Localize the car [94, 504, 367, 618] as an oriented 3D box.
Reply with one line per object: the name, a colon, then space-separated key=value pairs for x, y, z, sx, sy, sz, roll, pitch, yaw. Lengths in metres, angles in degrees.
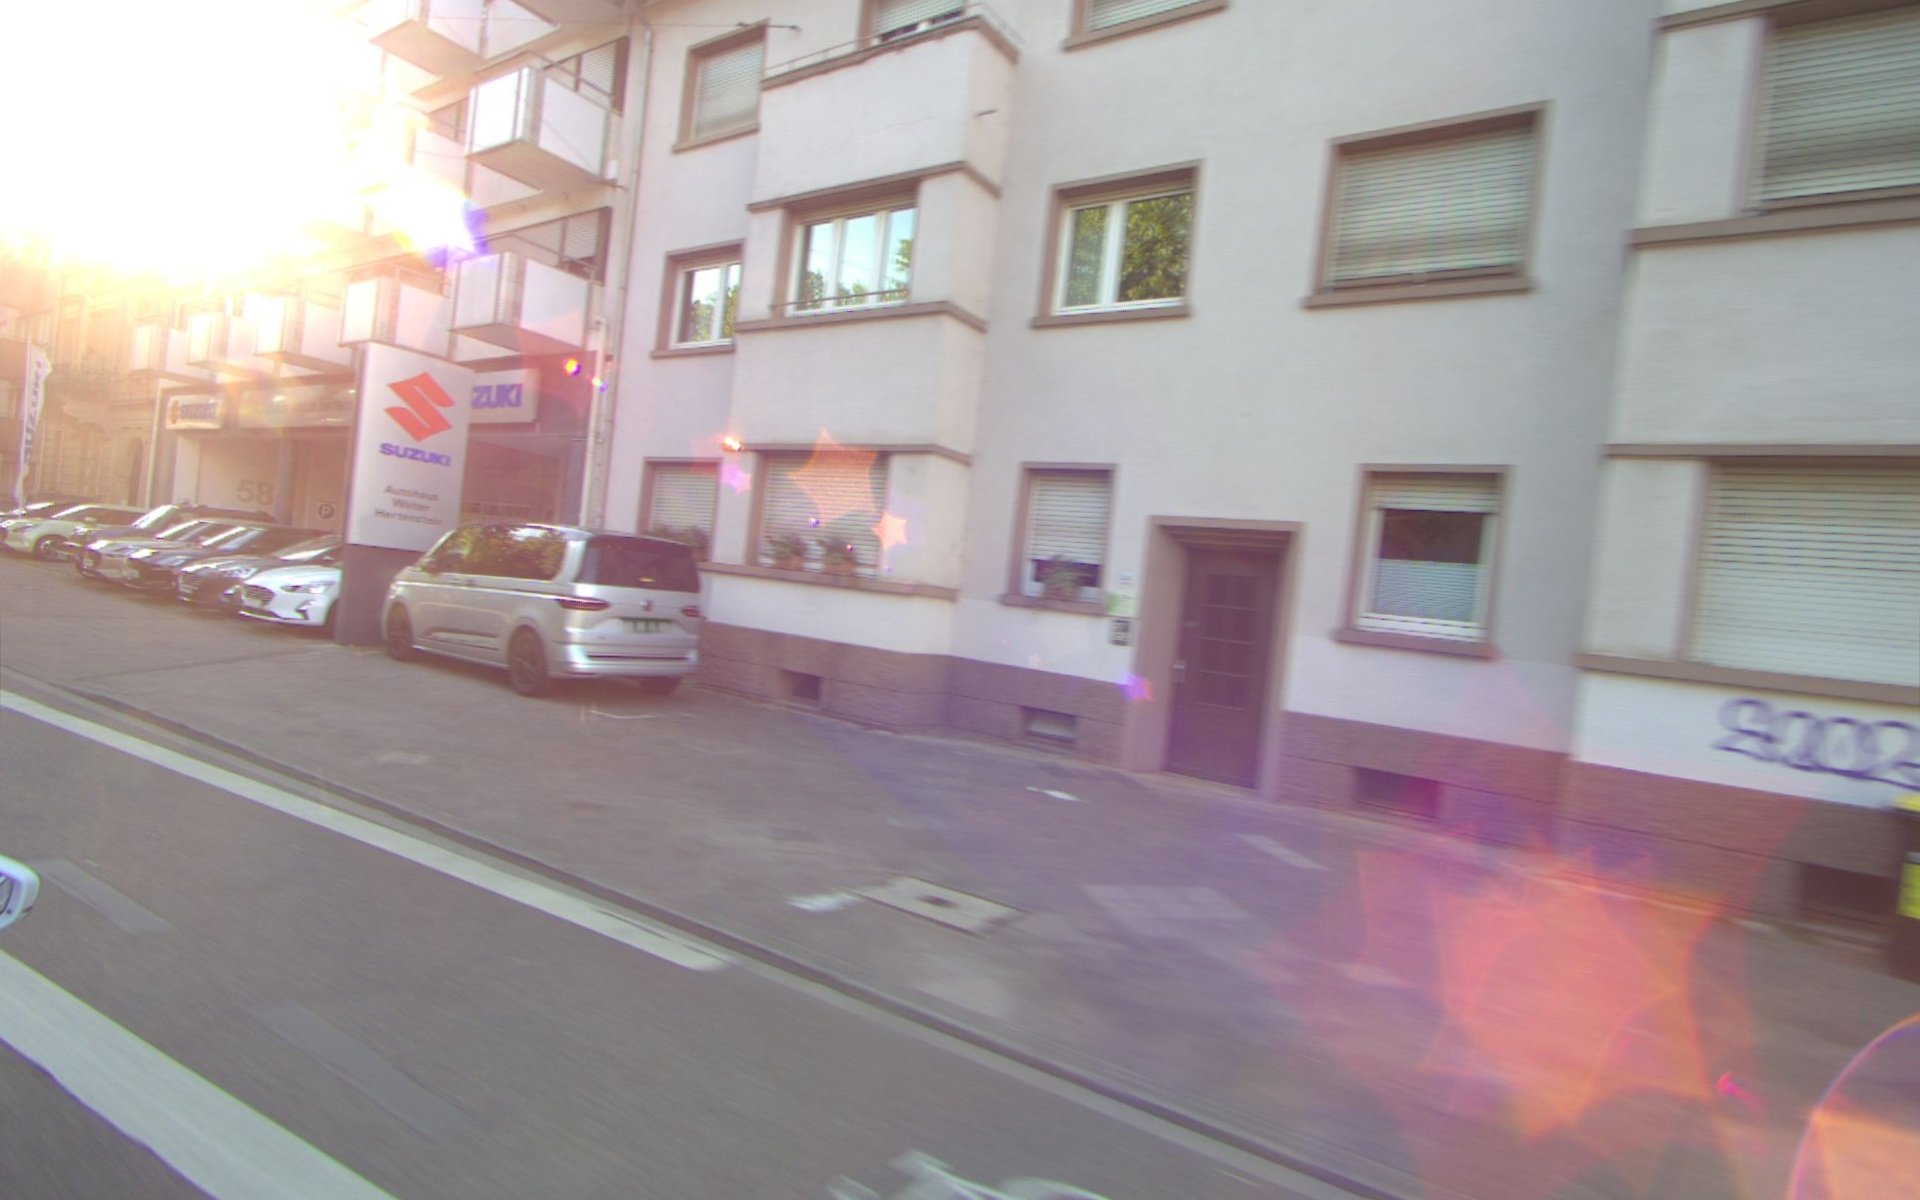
car: x=-12.763 y=-0.634 z=17.791 sx=1.712 sy=1.544 sz=3.422 roll=7 pitch=0 yaw=31

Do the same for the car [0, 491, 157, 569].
car: x=-23.184 y=-1.804 z=26.007 sx=1.419 sy=1.565 sz=3.421 roll=6 pitch=-1 yaw=32

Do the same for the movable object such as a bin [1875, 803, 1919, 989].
movable object such as a bin: x=5.736 y=1.733 z=5.778 sx=0.576 sy=0.981 sz=0.553 roll=6 pitch=0 yaw=37

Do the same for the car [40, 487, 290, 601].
car: x=-15.988 y=-1.077 z=20.372 sx=1.656 sy=1.741 sz=3.580 roll=8 pitch=1 yaw=37

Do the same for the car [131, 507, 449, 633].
car: x=-10.824 y=-0.426 z=16.524 sx=1.780 sy=1.532 sz=3.872 roll=7 pitch=0 yaw=33

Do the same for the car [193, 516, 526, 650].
car: x=-8.936 y=-0.181 z=15.296 sx=1.881 sy=1.519 sz=3.817 roll=8 pitch=0 yaw=30

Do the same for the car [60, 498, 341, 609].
car: x=-14.370 y=-0.825 z=19.233 sx=1.829 sy=1.559 sz=3.822 roll=7 pitch=0 yaw=33

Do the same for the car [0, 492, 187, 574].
car: x=-21.605 y=-1.634 z=24.976 sx=1.731 sy=1.537 sz=3.417 roll=6 pitch=-1 yaw=37

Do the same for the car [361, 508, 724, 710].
car: x=-5.289 y=0.032 z=12.420 sx=4.828 sy=1.972 sz=1.891 roll=6 pitch=-1 yaw=38
